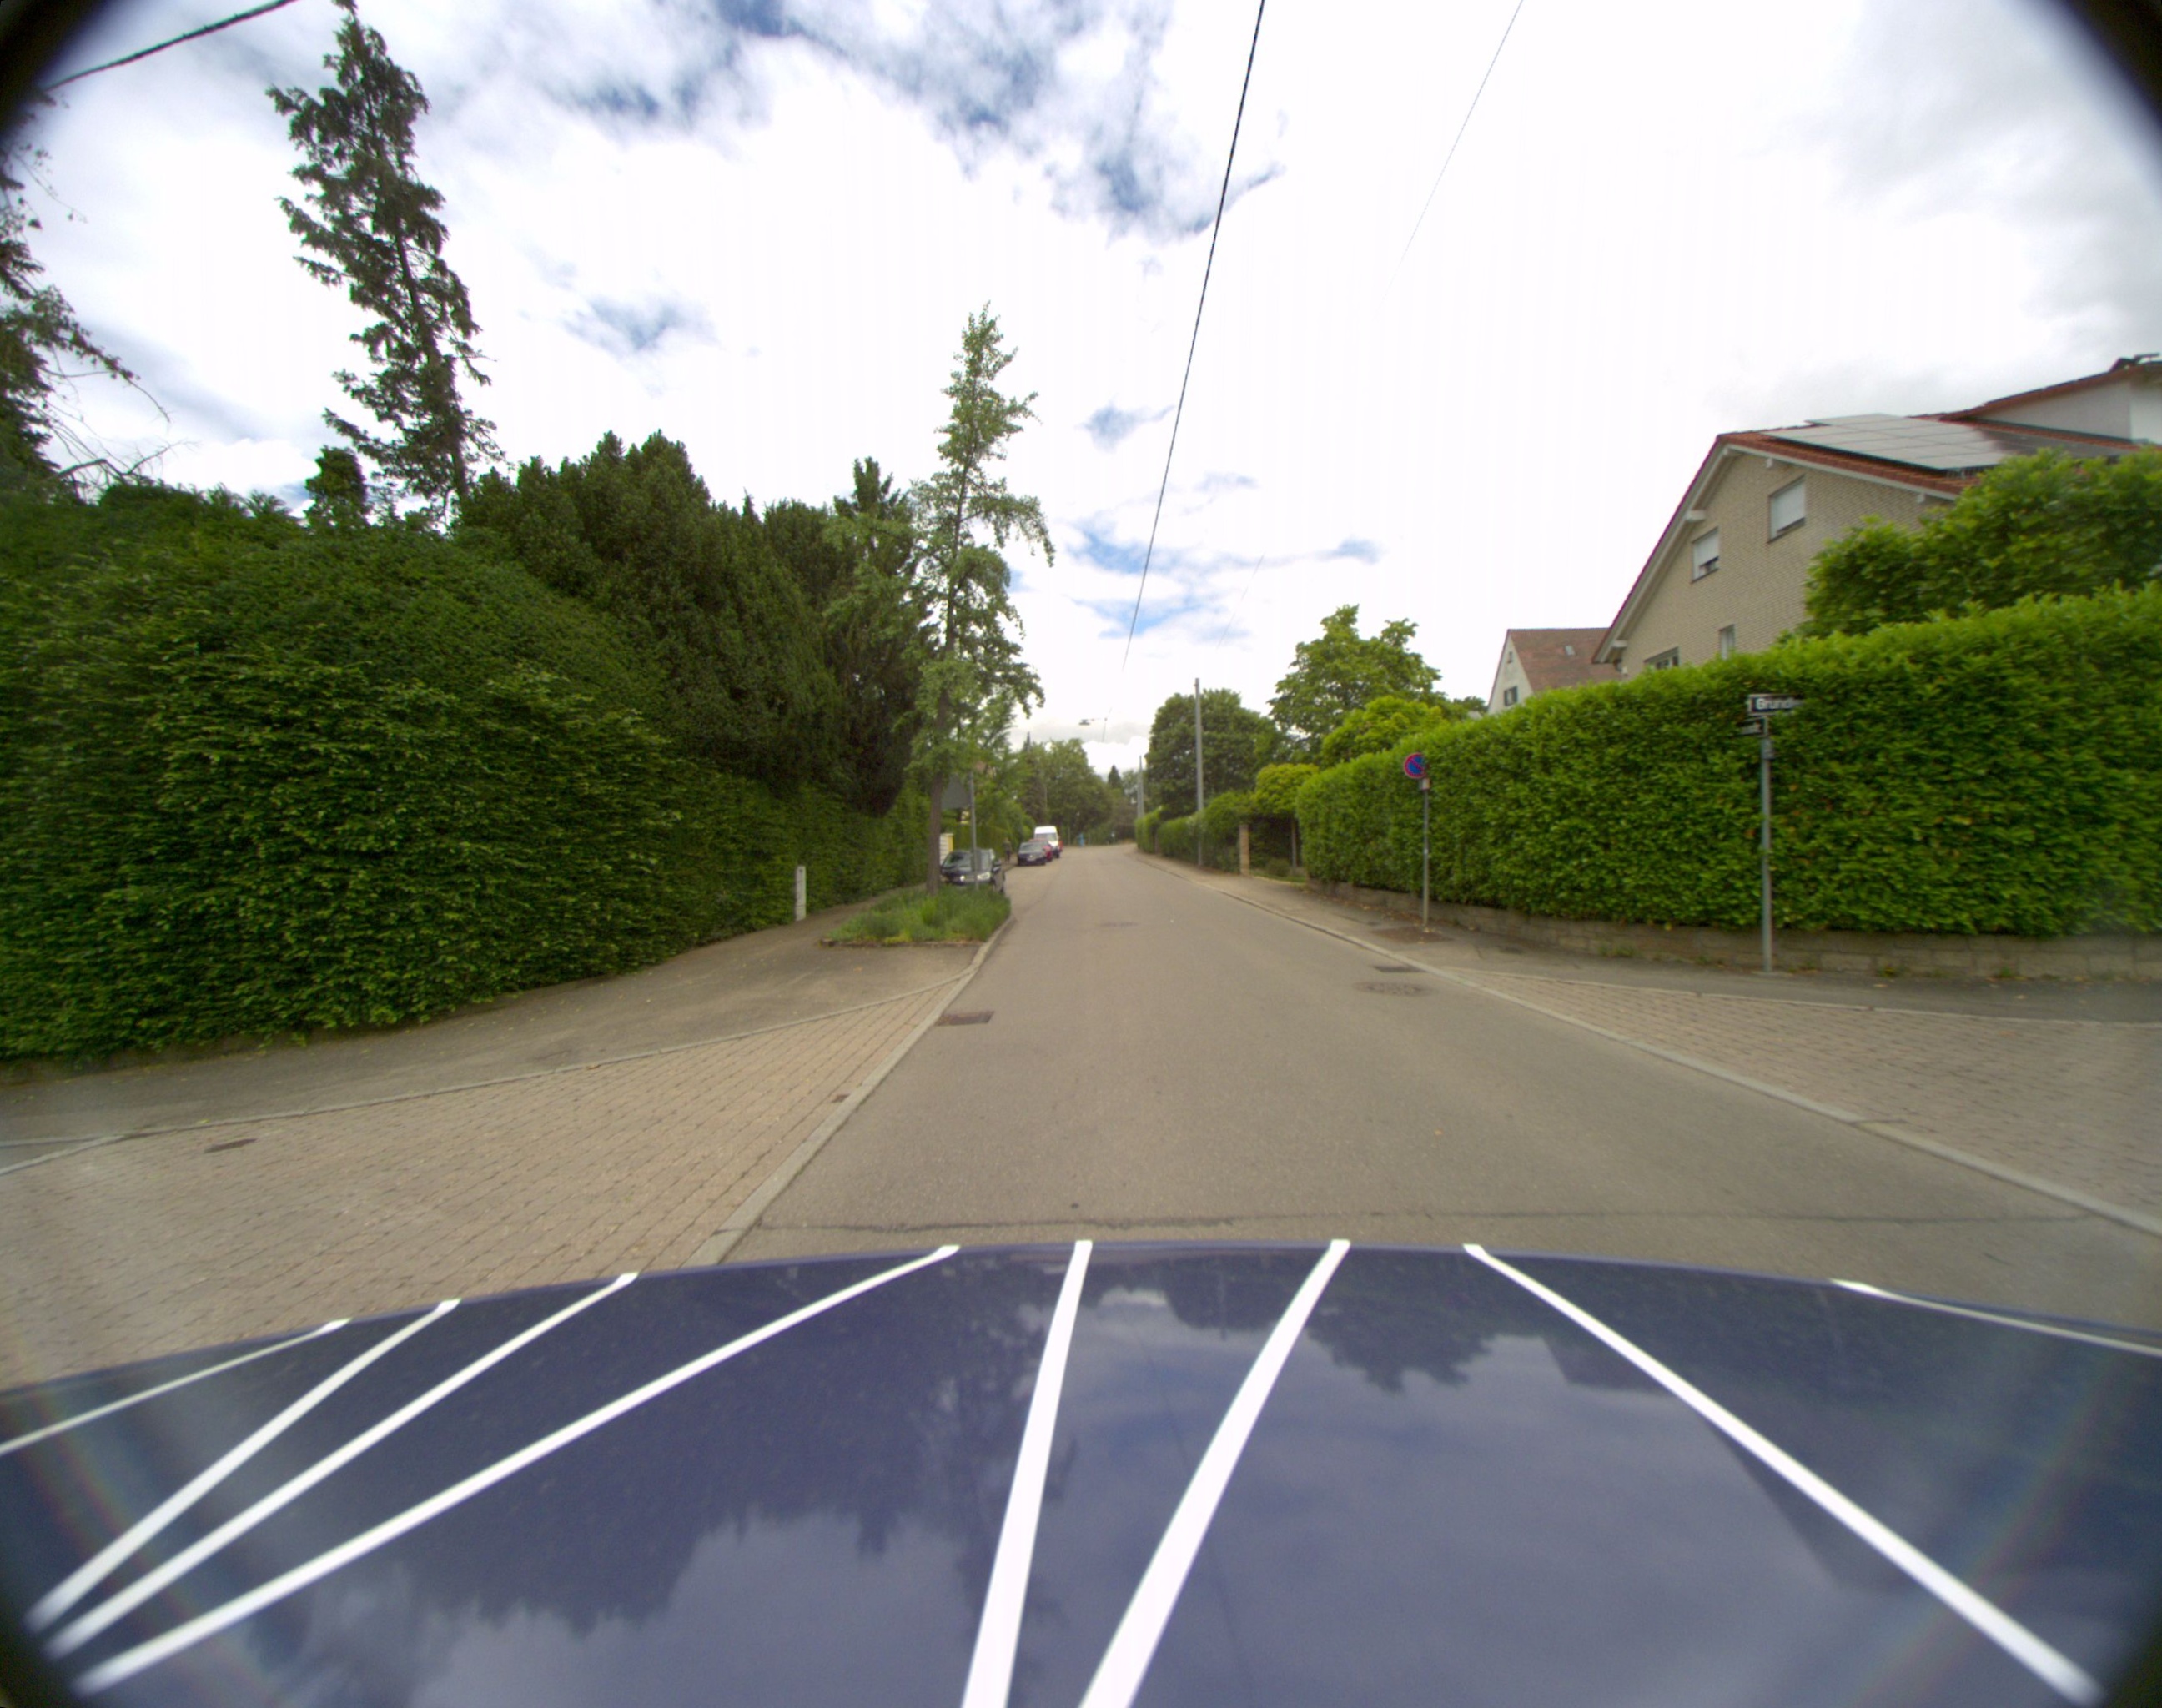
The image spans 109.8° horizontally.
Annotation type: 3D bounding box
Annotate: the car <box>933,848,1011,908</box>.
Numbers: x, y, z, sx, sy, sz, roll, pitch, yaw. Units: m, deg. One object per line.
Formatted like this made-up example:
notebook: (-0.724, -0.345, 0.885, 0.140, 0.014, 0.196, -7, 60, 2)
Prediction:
car: (-3.056, 0.613, 21.938, 1.627, 1.465, 3.739, -2, 2, 0)

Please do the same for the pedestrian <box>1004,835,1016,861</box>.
pedestrian: (-4.667, -0.393, 49.960, 0.671, 1.689, 0.918, 0, 2, 3)

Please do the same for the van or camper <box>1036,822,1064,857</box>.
van or camper: (-2.555, -1.225, 62.736, 2.047, 2.605, 7.035, -3, 2, -2)

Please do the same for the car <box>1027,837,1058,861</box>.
car: (-2.674, -0.409, 54.110, 1.893, 1.572, 4.763, 0, 2, 1)

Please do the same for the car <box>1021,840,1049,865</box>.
car: (-2.920, -0.127, 48.025, 1.684, 1.399, 4.050, 0, 2, -5)

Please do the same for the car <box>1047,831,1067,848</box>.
car: (-2.590, -1.587, 82.857, 1.771, 1.755, 4.161, -2, 2, 3)
